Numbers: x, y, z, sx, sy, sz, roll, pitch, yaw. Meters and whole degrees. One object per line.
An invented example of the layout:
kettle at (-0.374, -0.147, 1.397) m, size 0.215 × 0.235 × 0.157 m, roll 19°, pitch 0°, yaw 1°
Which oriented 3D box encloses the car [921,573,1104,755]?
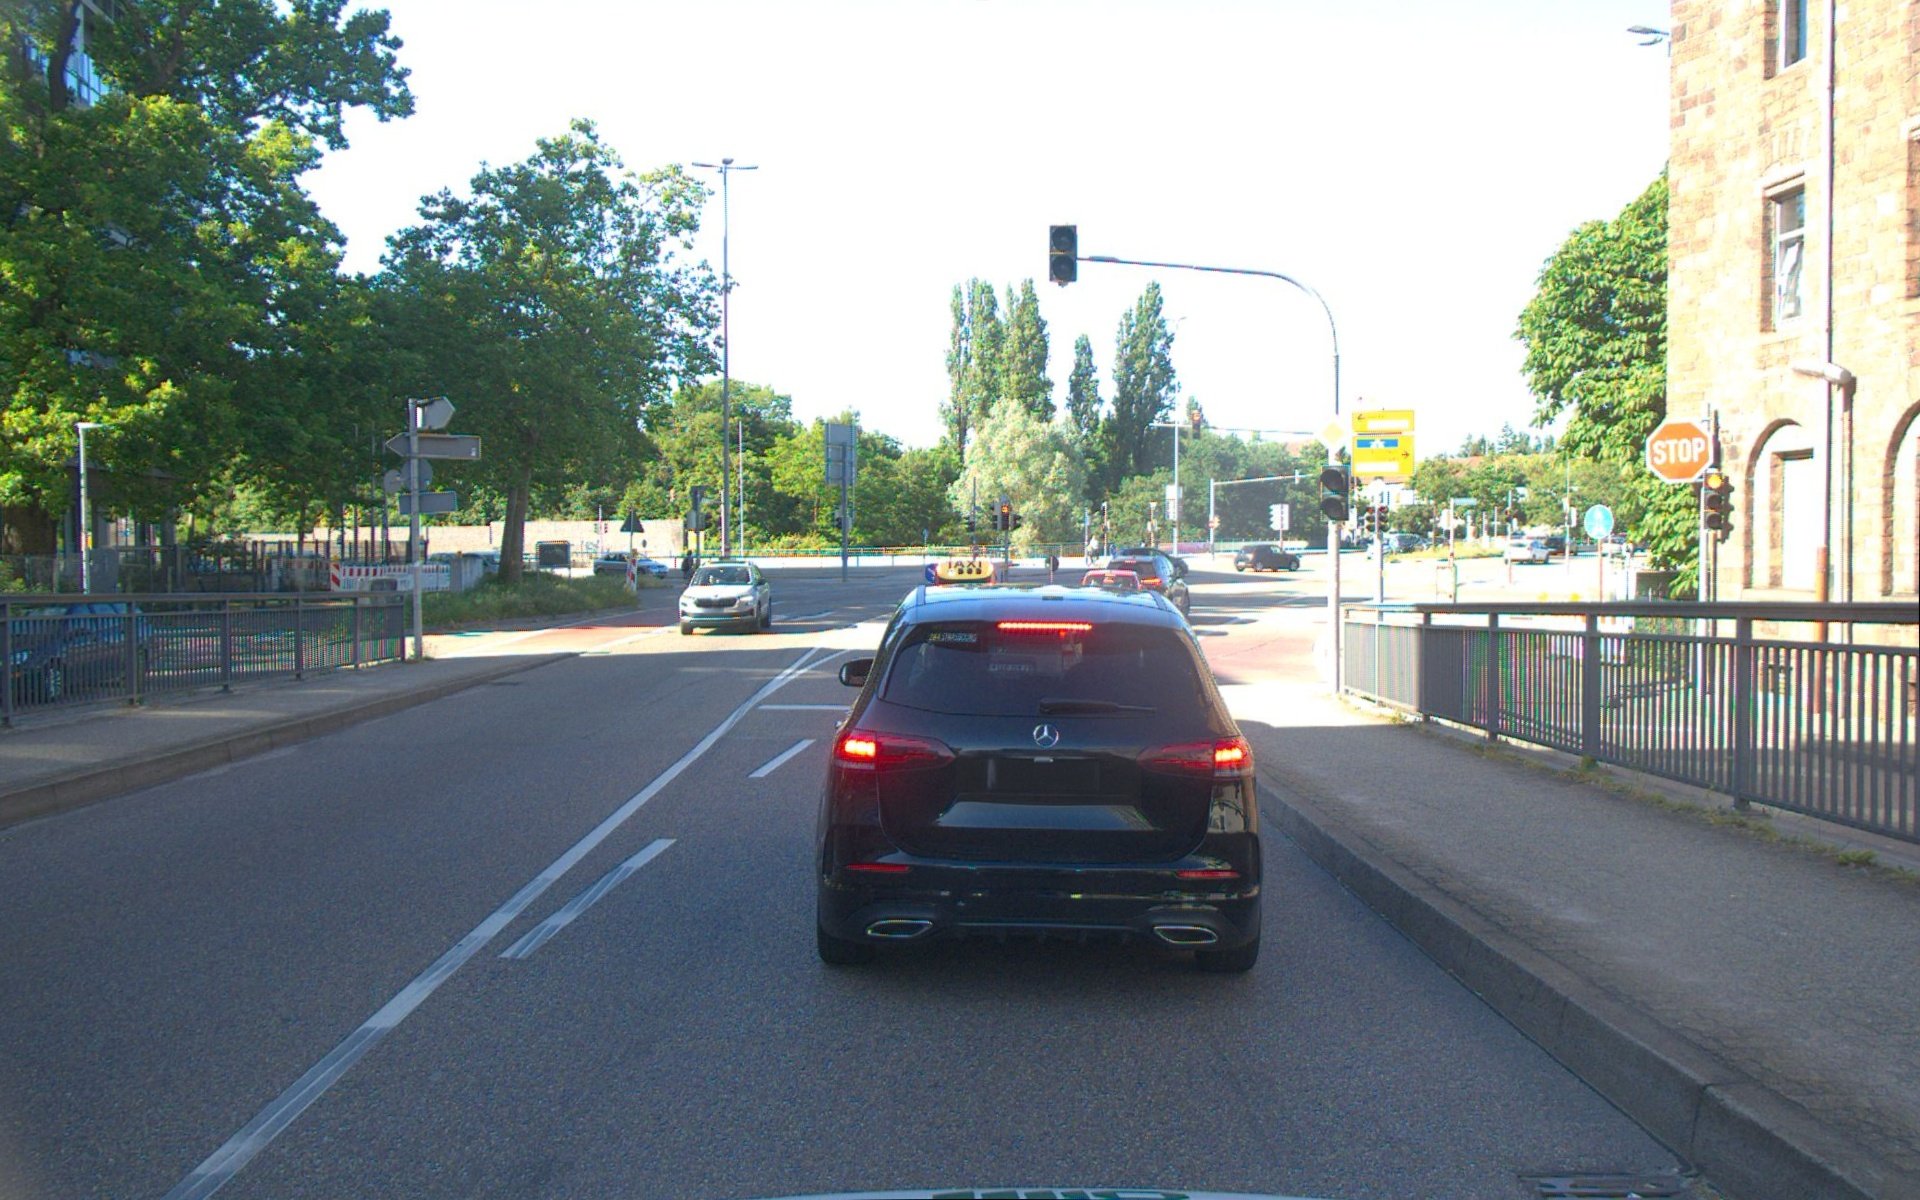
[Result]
car at (0.514, 0.544, 16.544) m, size 1.606 × 1.556 × 3.475 m, roll -1°, pitch 2°, yaw 1°

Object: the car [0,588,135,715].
car at (-14.763, 0.730, 25.787) m, size 1.814 × 1.722 × 4.000 m, roll 0°, pitch 2°, yaw -1°

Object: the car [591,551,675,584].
car at (-16.748, -1.647, 84.601) m, size 3.910 × 1.658 × 1.888 m, roll 0°, pitch 2°, yaw 28°

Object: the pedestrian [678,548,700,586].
pedestrian at (-11.106, -1.358, 67.829) m, size 0.690 × 1.552 × 0.744 m, roll 1°, pitch 1°, yaw 10°

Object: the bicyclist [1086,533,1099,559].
bicyclist at (8.004, -3.256, 99.832) m, size 0.515 × 1.578 × 0.806 m, roll -1°, pitch 1°, yaw 26°

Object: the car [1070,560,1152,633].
car at (3.640, -0.121, 39.443) m, size 1.685 × 1.548 × 3.490 m, roll 0°, pitch 3°, yaw 10°

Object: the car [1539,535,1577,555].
car at (44.720, -4.129, 123.581) m, size 1.846 × 1.317 × 4.586 m, roll 0°, pitch 3°, yaw 31°

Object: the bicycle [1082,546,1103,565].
bicycle at (8.006, -2.693, 99.856) m, size 0.515 × 1.068 × 1.989 m, roll -1°, pitch 2°, yaw 26°

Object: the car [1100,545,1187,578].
car at (9.048, -1.885, 81.596) m, size 3.920 × 1.524 × 1.738 m, roll 0°, pitch 0°, yaw -15°

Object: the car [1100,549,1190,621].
car at (5.089, -0.440, 45.132) m, size 1.685 × 1.843 × 4.301 m, roll 0°, pitch 2°, yaw 17°

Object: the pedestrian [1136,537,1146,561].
pedestrian at (12.273, -3.436, 112.283) m, size 0.443 × 1.613 × 0.499 m, roll 0°, pitch 2°, yaw 40°

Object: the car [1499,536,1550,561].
car at (34.738, -3.196, 101.705) m, size 1.959 × 1.389 × 4.302 m, roll 1°, pitch 3°, yaw 34°

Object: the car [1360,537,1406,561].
car at (29.442, -3.539, 115.154) m, size 1.846 × 1.605 × 3.987 m, roll 1°, pitch 2°, yaw 35°

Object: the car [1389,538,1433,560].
car at (32.845, -3.725, 120.363) m, size 1.846 × 1.605 × 3.987 m, roll 1°, pitch 2°, yaw 35°

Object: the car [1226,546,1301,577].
car at (16.633, -2.080, 90.510) m, size 3.957 × 1.574 × 1.866 m, roll 1°, pitch 0°, yaw -37°

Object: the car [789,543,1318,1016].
car at (0.305, 0.609, 7.822) m, size 1.839 × 1.641 × 4.000 m, roll 1°, pitch 1°, yaw -1°

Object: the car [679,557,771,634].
car at (-5.474, -0.153, 38.929) m, size 1.768 × 1.651 × 3.999 m, roll -1°, pitch 2°, yaw -3°

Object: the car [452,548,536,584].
car at (-22.569, -1.632, 80.052) m, size 3.916 × 1.663 × 1.779 m, roll 0°, pitch 3°, yaw 33°
